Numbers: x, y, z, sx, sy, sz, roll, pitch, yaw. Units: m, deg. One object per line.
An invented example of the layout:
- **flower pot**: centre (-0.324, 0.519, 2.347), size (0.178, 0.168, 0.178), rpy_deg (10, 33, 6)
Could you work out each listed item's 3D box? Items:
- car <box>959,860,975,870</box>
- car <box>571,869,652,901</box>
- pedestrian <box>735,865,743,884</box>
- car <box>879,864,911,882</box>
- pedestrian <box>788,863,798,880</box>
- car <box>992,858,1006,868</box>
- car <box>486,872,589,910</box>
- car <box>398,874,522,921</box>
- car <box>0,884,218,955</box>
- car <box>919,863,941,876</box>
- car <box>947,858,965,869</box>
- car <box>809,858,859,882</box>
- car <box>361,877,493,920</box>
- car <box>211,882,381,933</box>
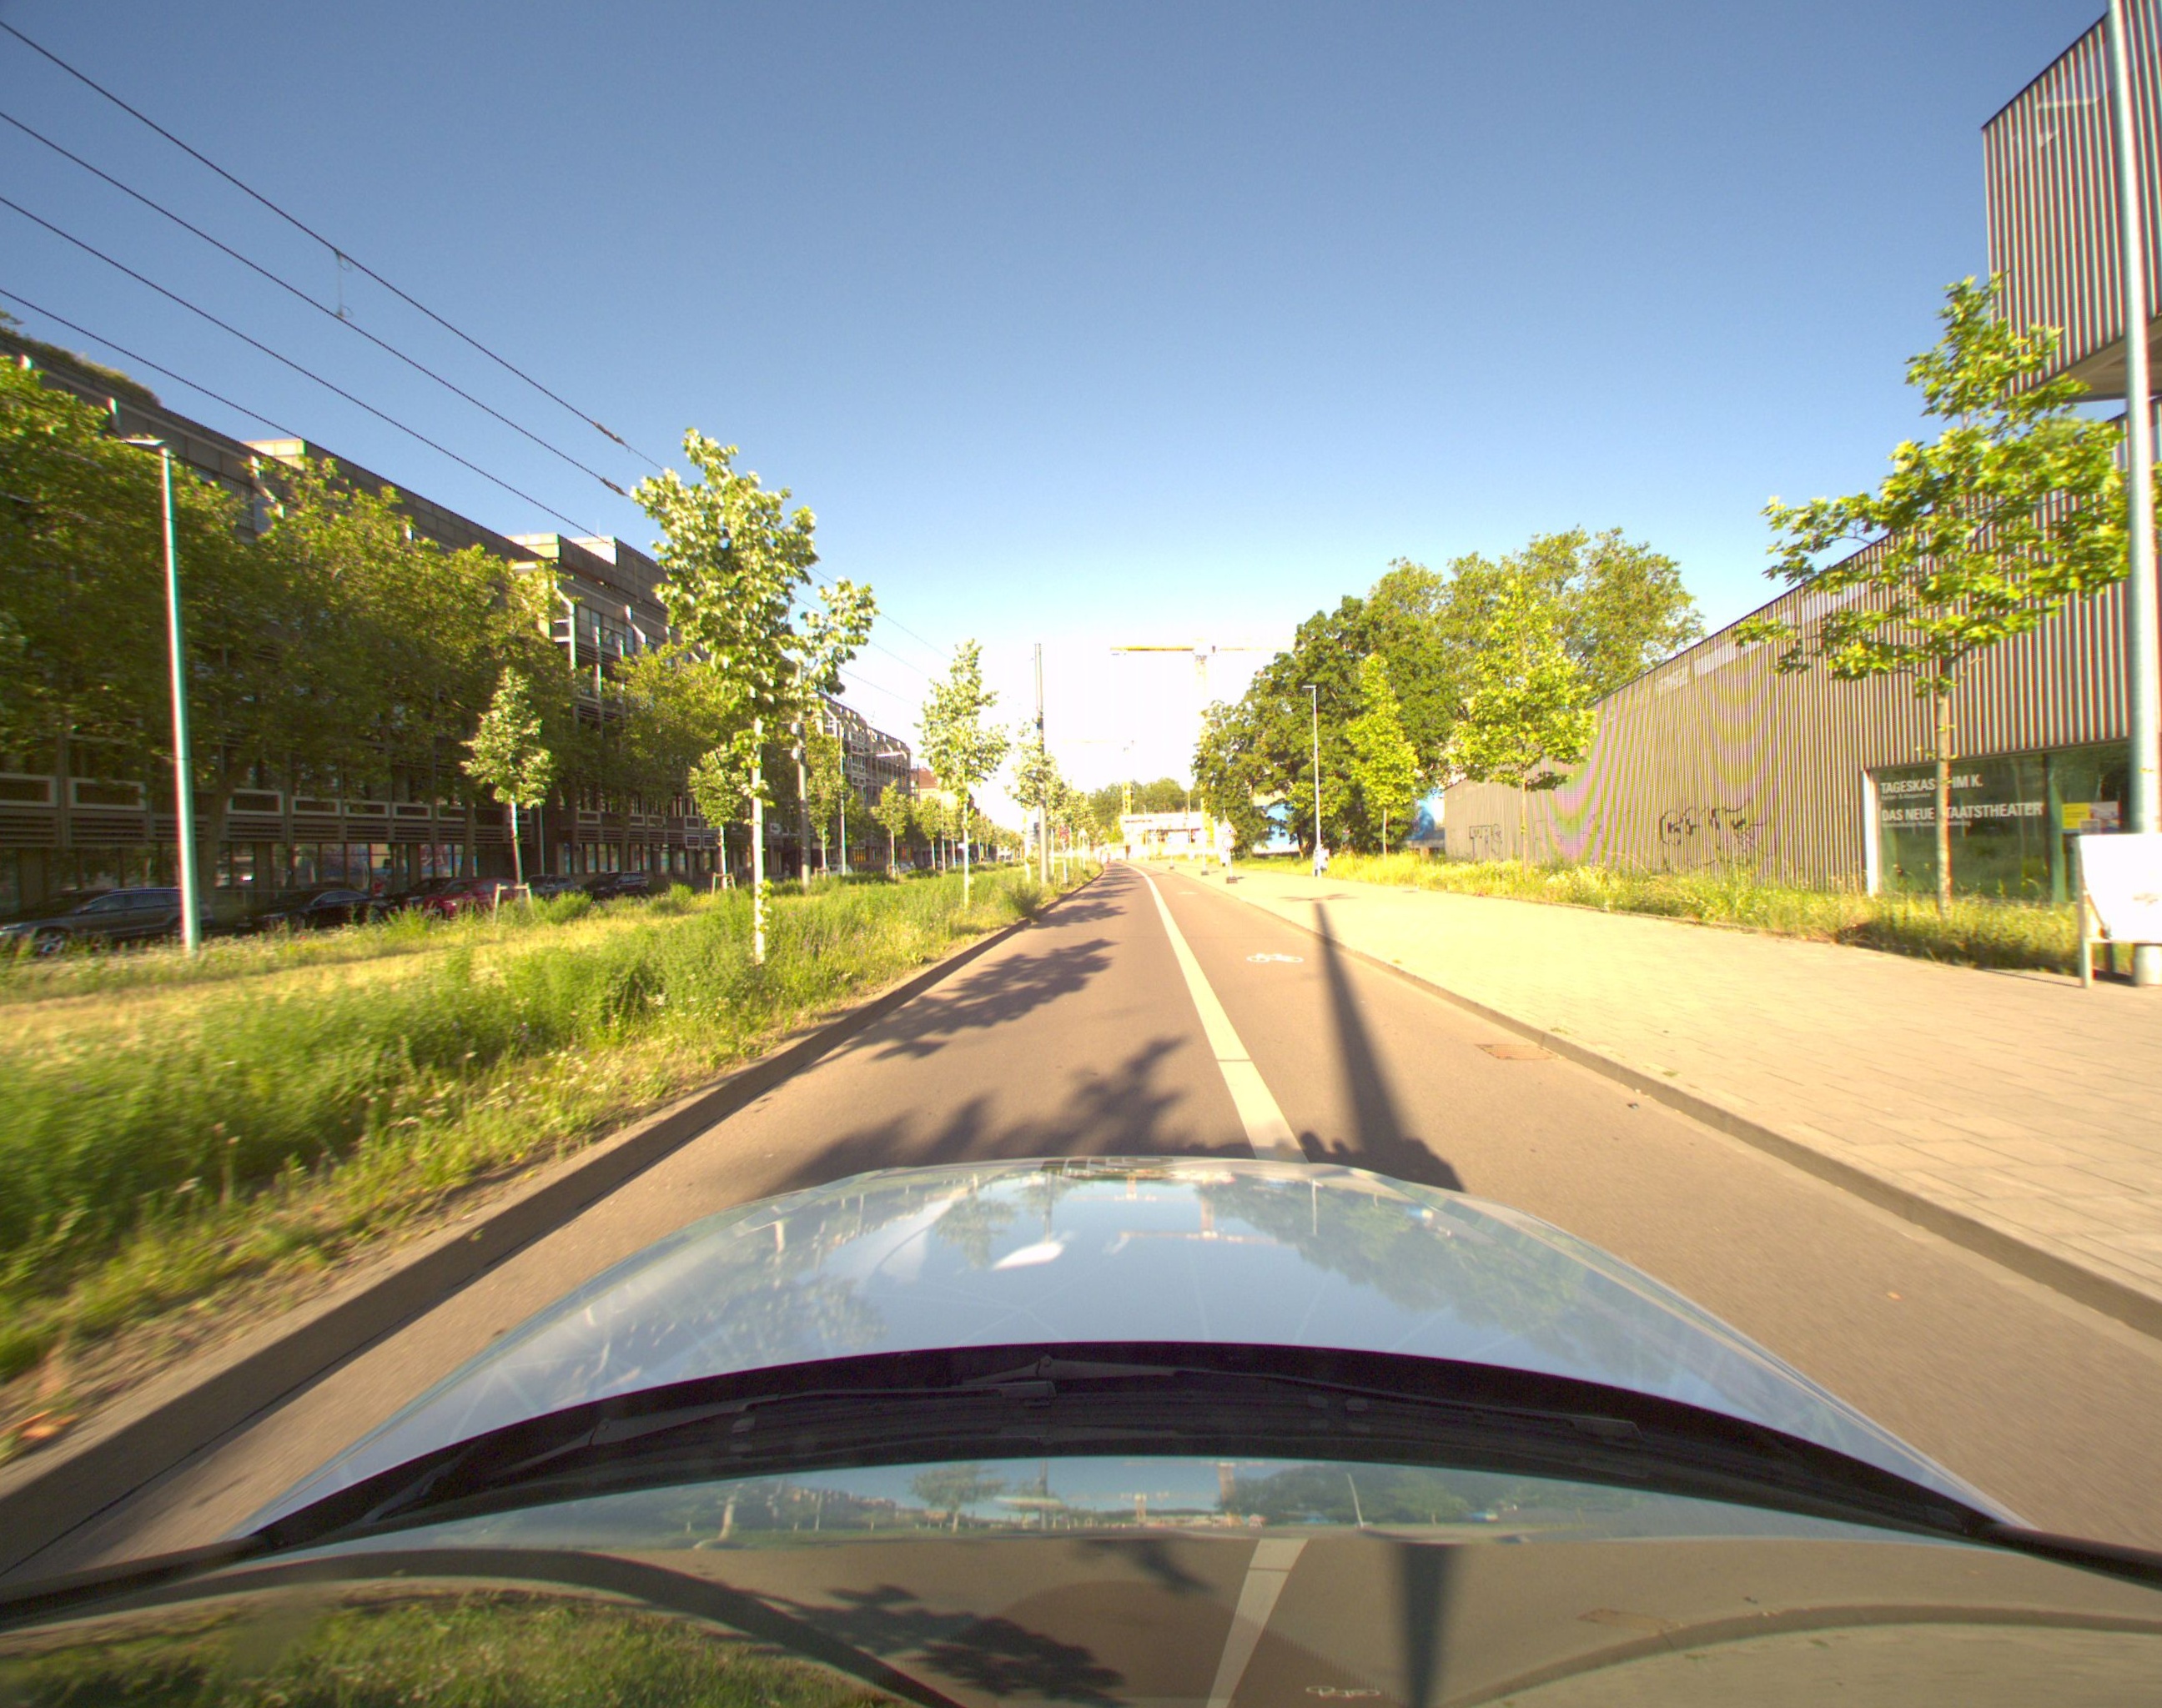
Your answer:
- **car**: centre (-19.545, 1.860, 139.772), size (1.896, 1.575, 4.303), rpy_deg (-2, 0, 2)
- **car**: centre (-26.982, 1.726, 46.949), size (1.852, 1.596, 4.283), rpy_deg (-3, 0, 5)
- **pedestrian**: centre (-29.534, 1.771, 70.305), size (0.407, 1.561, 0.447), rpy_deg (-2, 0, 4)
- **car**: centre (-18.003, 1.821, 79.016), size (1.750, 1.516, 4.588), rpy_deg (-3, 0, 4)
- **pedestrian**: centre (-26.673, 1.614, 75.454), size (0.663, 1.532, 0.648), rpy_deg (-2, 0, -5)
- **car**: centre (-14.727, 1.626, 146.752), size (1.896, 1.575, 4.413), rpy_deg (-2, 0, 2)
- **car**: centre (-27.612, 1.827, 41.557), size (1.901, 1.632, 4.370), rpy_deg (-4, 0, 6)
- **car**: centre (-23.421, 1.588, 30.889), size (1.703, 1.453, 3.579), rpy_deg (-5, 0, 3)
- **car**: centre (-28.792, 1.807, 23.747), size (1.986, 1.680, 4.870), rpy_deg (-1, 0, 2)
- **car**: centre (-20.378, 2.061, 109.943), size (1.896, 1.575, 4.303), rpy_deg (-2, 0, 2)
- **car**: centre (-19.352, 1.509, 126.220), size (1.896, 1.575, 4.303), rpy_deg (-2, 0, 2)
- **car**: centre (-17.834, 1.116, 58.995), size (1.831, 1.594, 4.699), rpy_deg (-2, 0, 5)
- **car**: centre (-27.839, 1.850, 34.900), size (1.737, 1.557, 4.626), rpy_deg (-1, 0, 3)
- **car**: centre (-28.202, 1.883, 29.461), size (1.983, 1.521, 4.008), rpy_deg (-1, 0, 7)
